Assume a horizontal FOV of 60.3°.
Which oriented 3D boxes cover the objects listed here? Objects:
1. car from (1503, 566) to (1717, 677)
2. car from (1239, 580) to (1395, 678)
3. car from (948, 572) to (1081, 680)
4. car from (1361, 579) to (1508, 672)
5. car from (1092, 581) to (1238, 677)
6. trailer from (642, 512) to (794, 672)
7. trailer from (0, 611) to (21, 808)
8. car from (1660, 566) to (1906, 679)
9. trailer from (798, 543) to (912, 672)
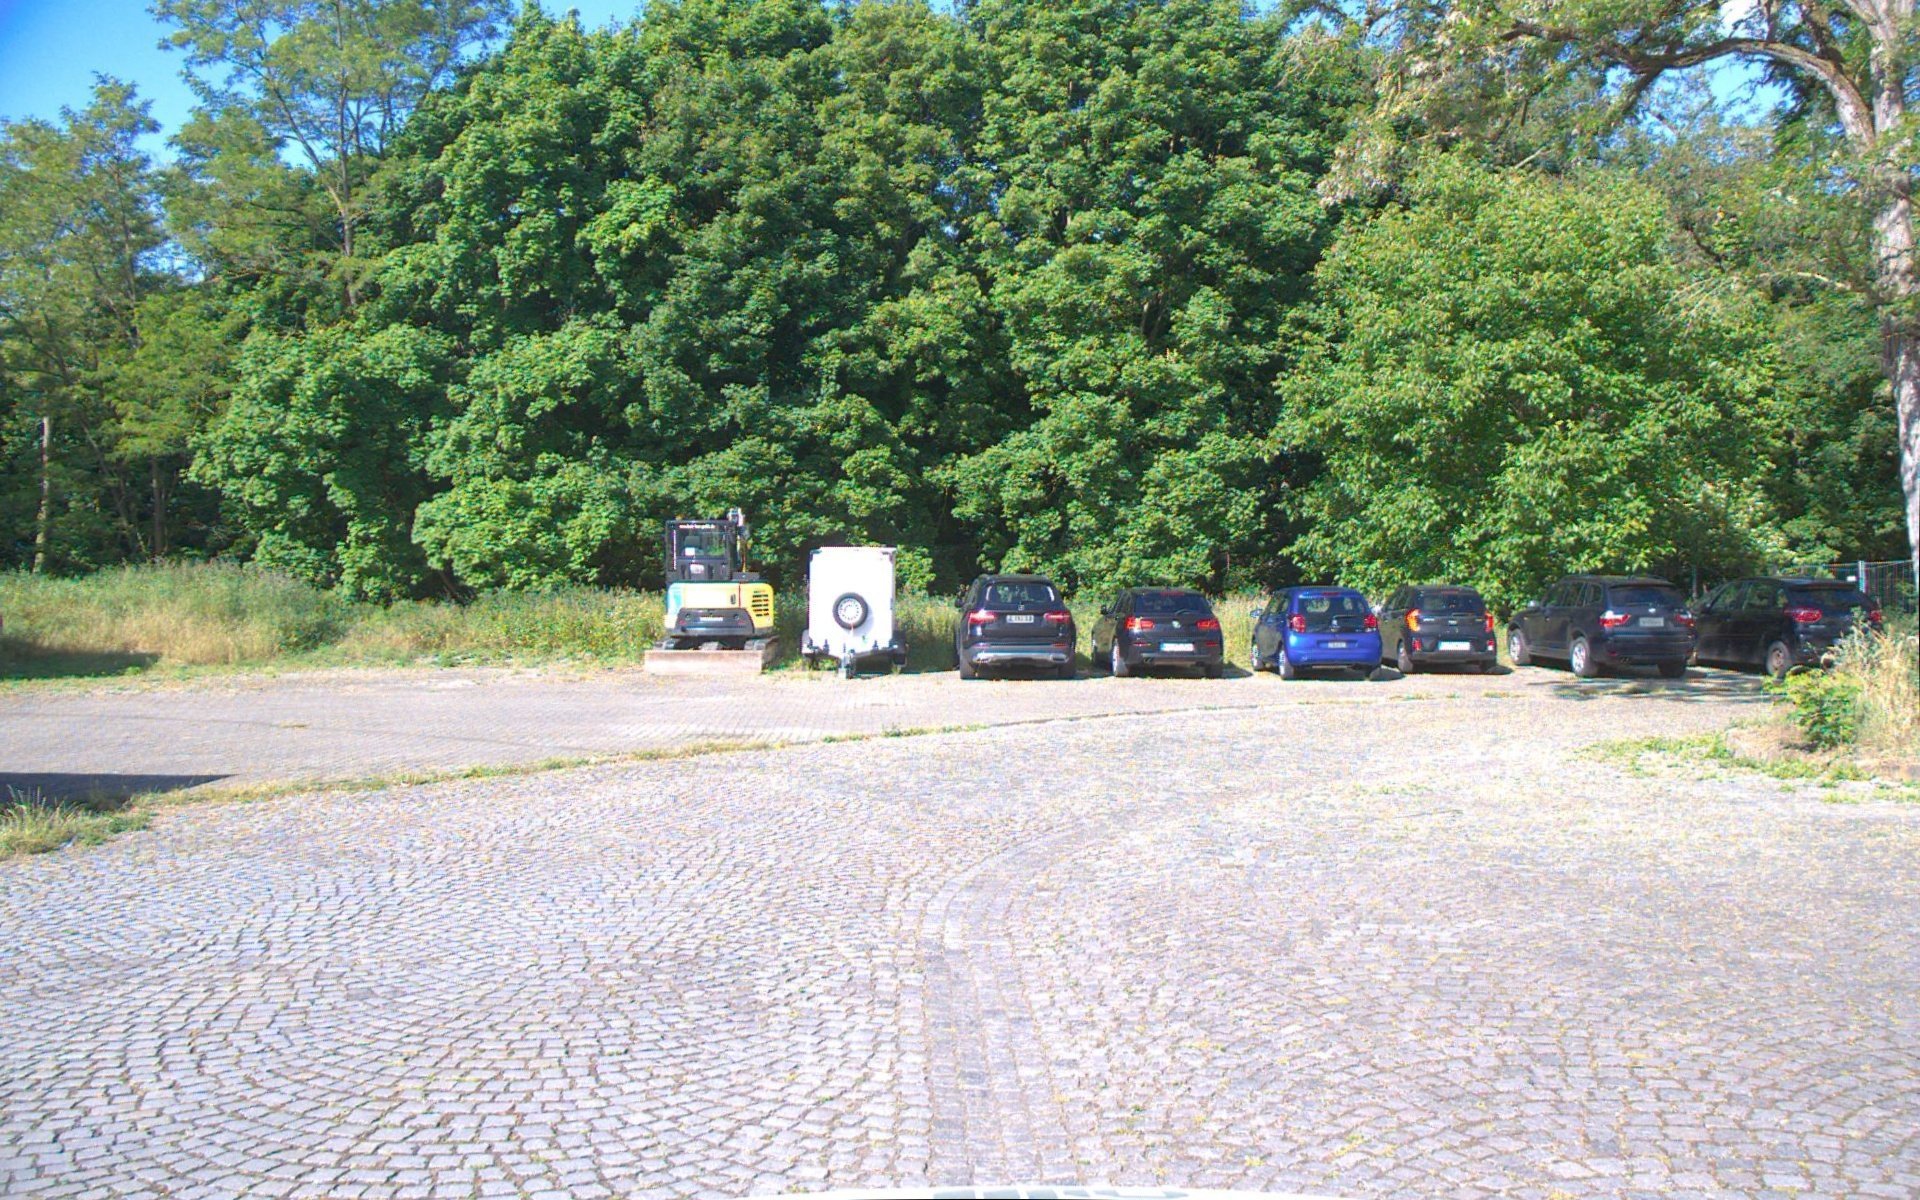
[{"bbox_3d":[11.130,0.300,28.655,1.837,1.659,4.272,0,3,-3],"label":"car"},{"bbox_3d":[5.917,0.427,27.823,1.744,1.484,3.789,0,1,-1],"label":"car"},{"bbox_3d":[0.824,0.364,27.370,1.924,1.617,4.130,0,1,-2],"label":"car"},{"bbox_3d":[8.267,0.397,29.116,1.702,1.476,3.727,0,1,3],"label":"car"},{"bbox_3d":[3.344,0.431,27.648,1.851,1.436,3.789,0,1,-2],"label":"car"},{"bbox_3d":[-4.106,-0.197,28.500,2.212,2.582,2.851,0,3,-1],"label":"trailer"},{"bbox_3d":[-8.238,0.782,9.879,2.587,1.439,4.860,0,0,-2],"label":"trailer"},{"bbox_3d":[14.139,0.318,28.723,1.789,1.616,4.269,-1,4,-6],"label":"car"},{"bbox_3d":[-1.757,0.094,28.365,1.781,2.086,2.850,0,1,-1],"label":"trailer"}]
